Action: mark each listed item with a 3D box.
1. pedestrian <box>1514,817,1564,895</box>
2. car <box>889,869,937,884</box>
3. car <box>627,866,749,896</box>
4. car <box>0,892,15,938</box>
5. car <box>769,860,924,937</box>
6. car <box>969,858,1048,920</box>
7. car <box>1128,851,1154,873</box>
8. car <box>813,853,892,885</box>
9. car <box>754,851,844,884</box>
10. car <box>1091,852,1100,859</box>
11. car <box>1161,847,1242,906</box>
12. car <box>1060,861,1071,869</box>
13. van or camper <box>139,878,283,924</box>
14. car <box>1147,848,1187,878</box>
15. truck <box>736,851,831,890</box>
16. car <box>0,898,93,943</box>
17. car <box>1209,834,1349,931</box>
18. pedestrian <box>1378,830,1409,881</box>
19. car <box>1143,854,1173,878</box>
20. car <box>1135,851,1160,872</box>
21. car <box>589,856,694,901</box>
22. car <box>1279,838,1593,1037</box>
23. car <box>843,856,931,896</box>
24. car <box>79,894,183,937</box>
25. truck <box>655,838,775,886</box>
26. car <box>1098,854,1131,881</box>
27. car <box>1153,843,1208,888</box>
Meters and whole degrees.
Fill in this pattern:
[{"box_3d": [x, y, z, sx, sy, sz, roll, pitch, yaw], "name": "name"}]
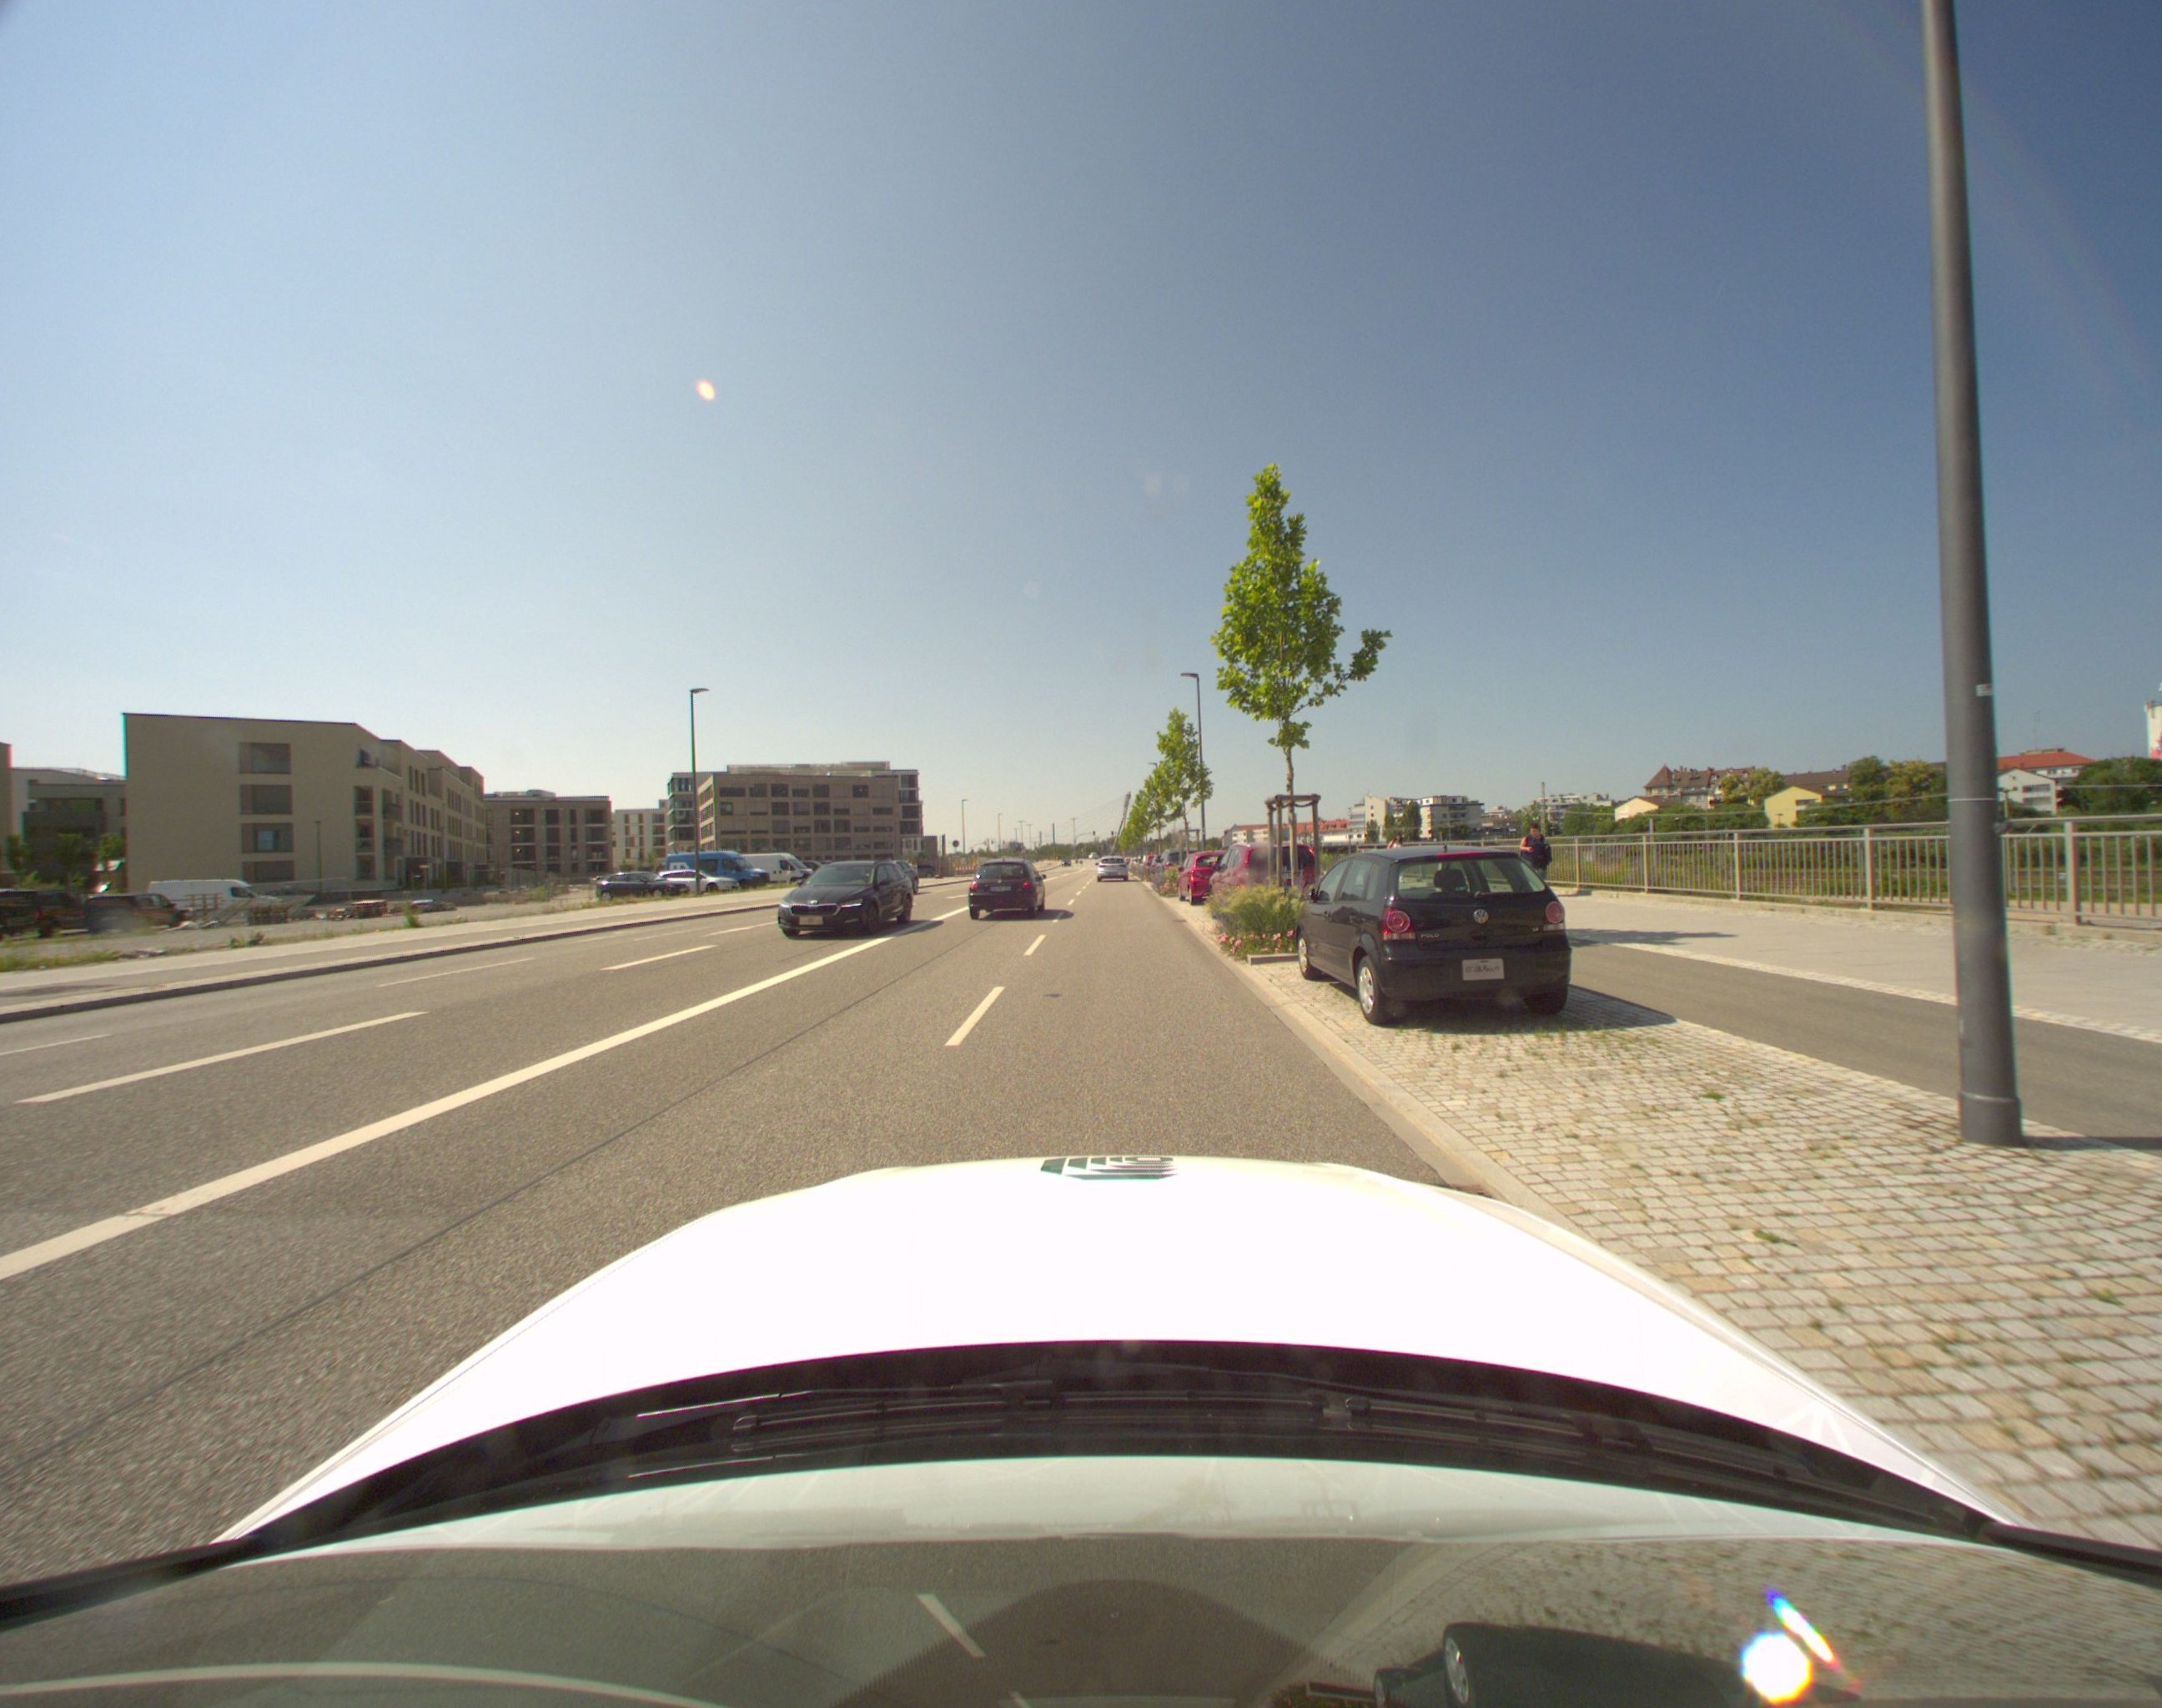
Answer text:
[{"box_3d": [10.292, 0.049, 18.301, 0.729, 1.705, 0.651, -1, -2, 2], "name": "pedestrian"}, {"box_3d": [-17.019, 2.252, 82.613, 4.264, 1.318, 1.979, -2, 0, -33], "name": "car"}, {"box_3d": [-21.590, 1.457, 44.864, 5.633, 1.474, 2.106, -1, 0, -1], "name": "car"}, {"box_3d": [-54.092, 3.033, 39.279, 2.008, 2.241, 3.958, -1, 0, -33], "name": "car"}, {"box_3d": [-4.859, 0.864, 17.628, 1.780, 1.398, 4.576, -1, 0, 3], "name": "car"}, {"box_3d": [-1.790, 0.823, 21.045, 1.614, 1.416, 3.727, -1, 0, 1], "name": "car"}, {"box_3d": [4.292, 0.543, 58.506, 1.711, 1.524, 3.644, 0, 0, 2], "name": "car"}, {"box_3d": [-17.963, 1.165, 64.182, 5.428, 2.173, 2.394, -3, 0, -2], "name": "car"}, {"box_3d": [-21.350, 0.991, 61.785, 5.865, 2.165, 2.394, -2, 0, -1], "name": "car"}, {"box_3d": [3.662, 0.410, 209.475, 1.852, 1.649, 3.992, 0, 0, -6], "name": "car"}, {"box_3d": [3.473, 0.625, 24.061, 1.600, 1.491, 3.814, -4, 0, -3], "name": "car"}, {"box_3d": [-2.951, 2.039, 154.294, 1.697, 1.352, 4.458, -3, -1, 2], "name": "car"}, {"box_3d": [-55.596, 2.946, 52.252, 5.955, 2.559, 1.914, -2, -1, -36], "name": "van or camper"}, {"box_3d": [4.340, 0.431, 41.569, 1.627, 1.429, 4.241, -1, 0, 1], "name": "car"}, {"box_3d": [-20.332, 1.086, 55.788, 5.548, 2.362, 2.275, -3, 0, 0], "name": "truck"}, {"box_3d": [-49.907, 3.122, 38.908, 2.005, 1.849, 3.964, -1, 0, -27], "name": "car"}, {"box_3d": [3.790, 0.475, 16.424, 1.900, 1.616, 4.552, -2, 0, 3], "name": "car"}, {"box_3d": [10.794, 0.057, 28.128, 0.777, 1.705, 0.742, -1, 0, 2], "name": "pedestrian"}, {"box_3d": [4.984, 0.774, 53.203, 1.711, 1.451, 4.002, -1, 1, 2], "name": "car"}, {"box_3d": [5.421, 0.593, 66.075, 1.899, 1.577, 4.163, -2, -1, 5], "name": "car"}, {"box_3d": [-20.695, 1.126, 38.398, 3.963, 1.904, 1.832, -3, 0, 9], "name": "car"}, {"box_3d": [3.187, 0.630, 8.171, 1.613, 1.479, 3.827, -2, 0, 3], "name": "car"}, {"box_3d": [-8.030, 0.880, 34.181, 1.890, 1.496, 4.401, -1, 0, 11], "name": "car"}, {"box_3d": [-47.151, 3.003, 40.539, 2.005, 1.849, 3.964, -1, 0, -27], "name": "car"}, {"box_3d": [-21.717, 0.457, 48.588, 5.988, 2.543, 2.273, -3, 0, -2], "name": "truck"}, {"box_3d": [1.967, 0.764, 47.234, 1.770, 1.442, 4.004, -1, 0, 4], "name": "car"}, {"box_3d": [4.018, 0.445, 33.413, 1.728, 1.608, 4.241, -4, 0, 1], "name": "car"}]
